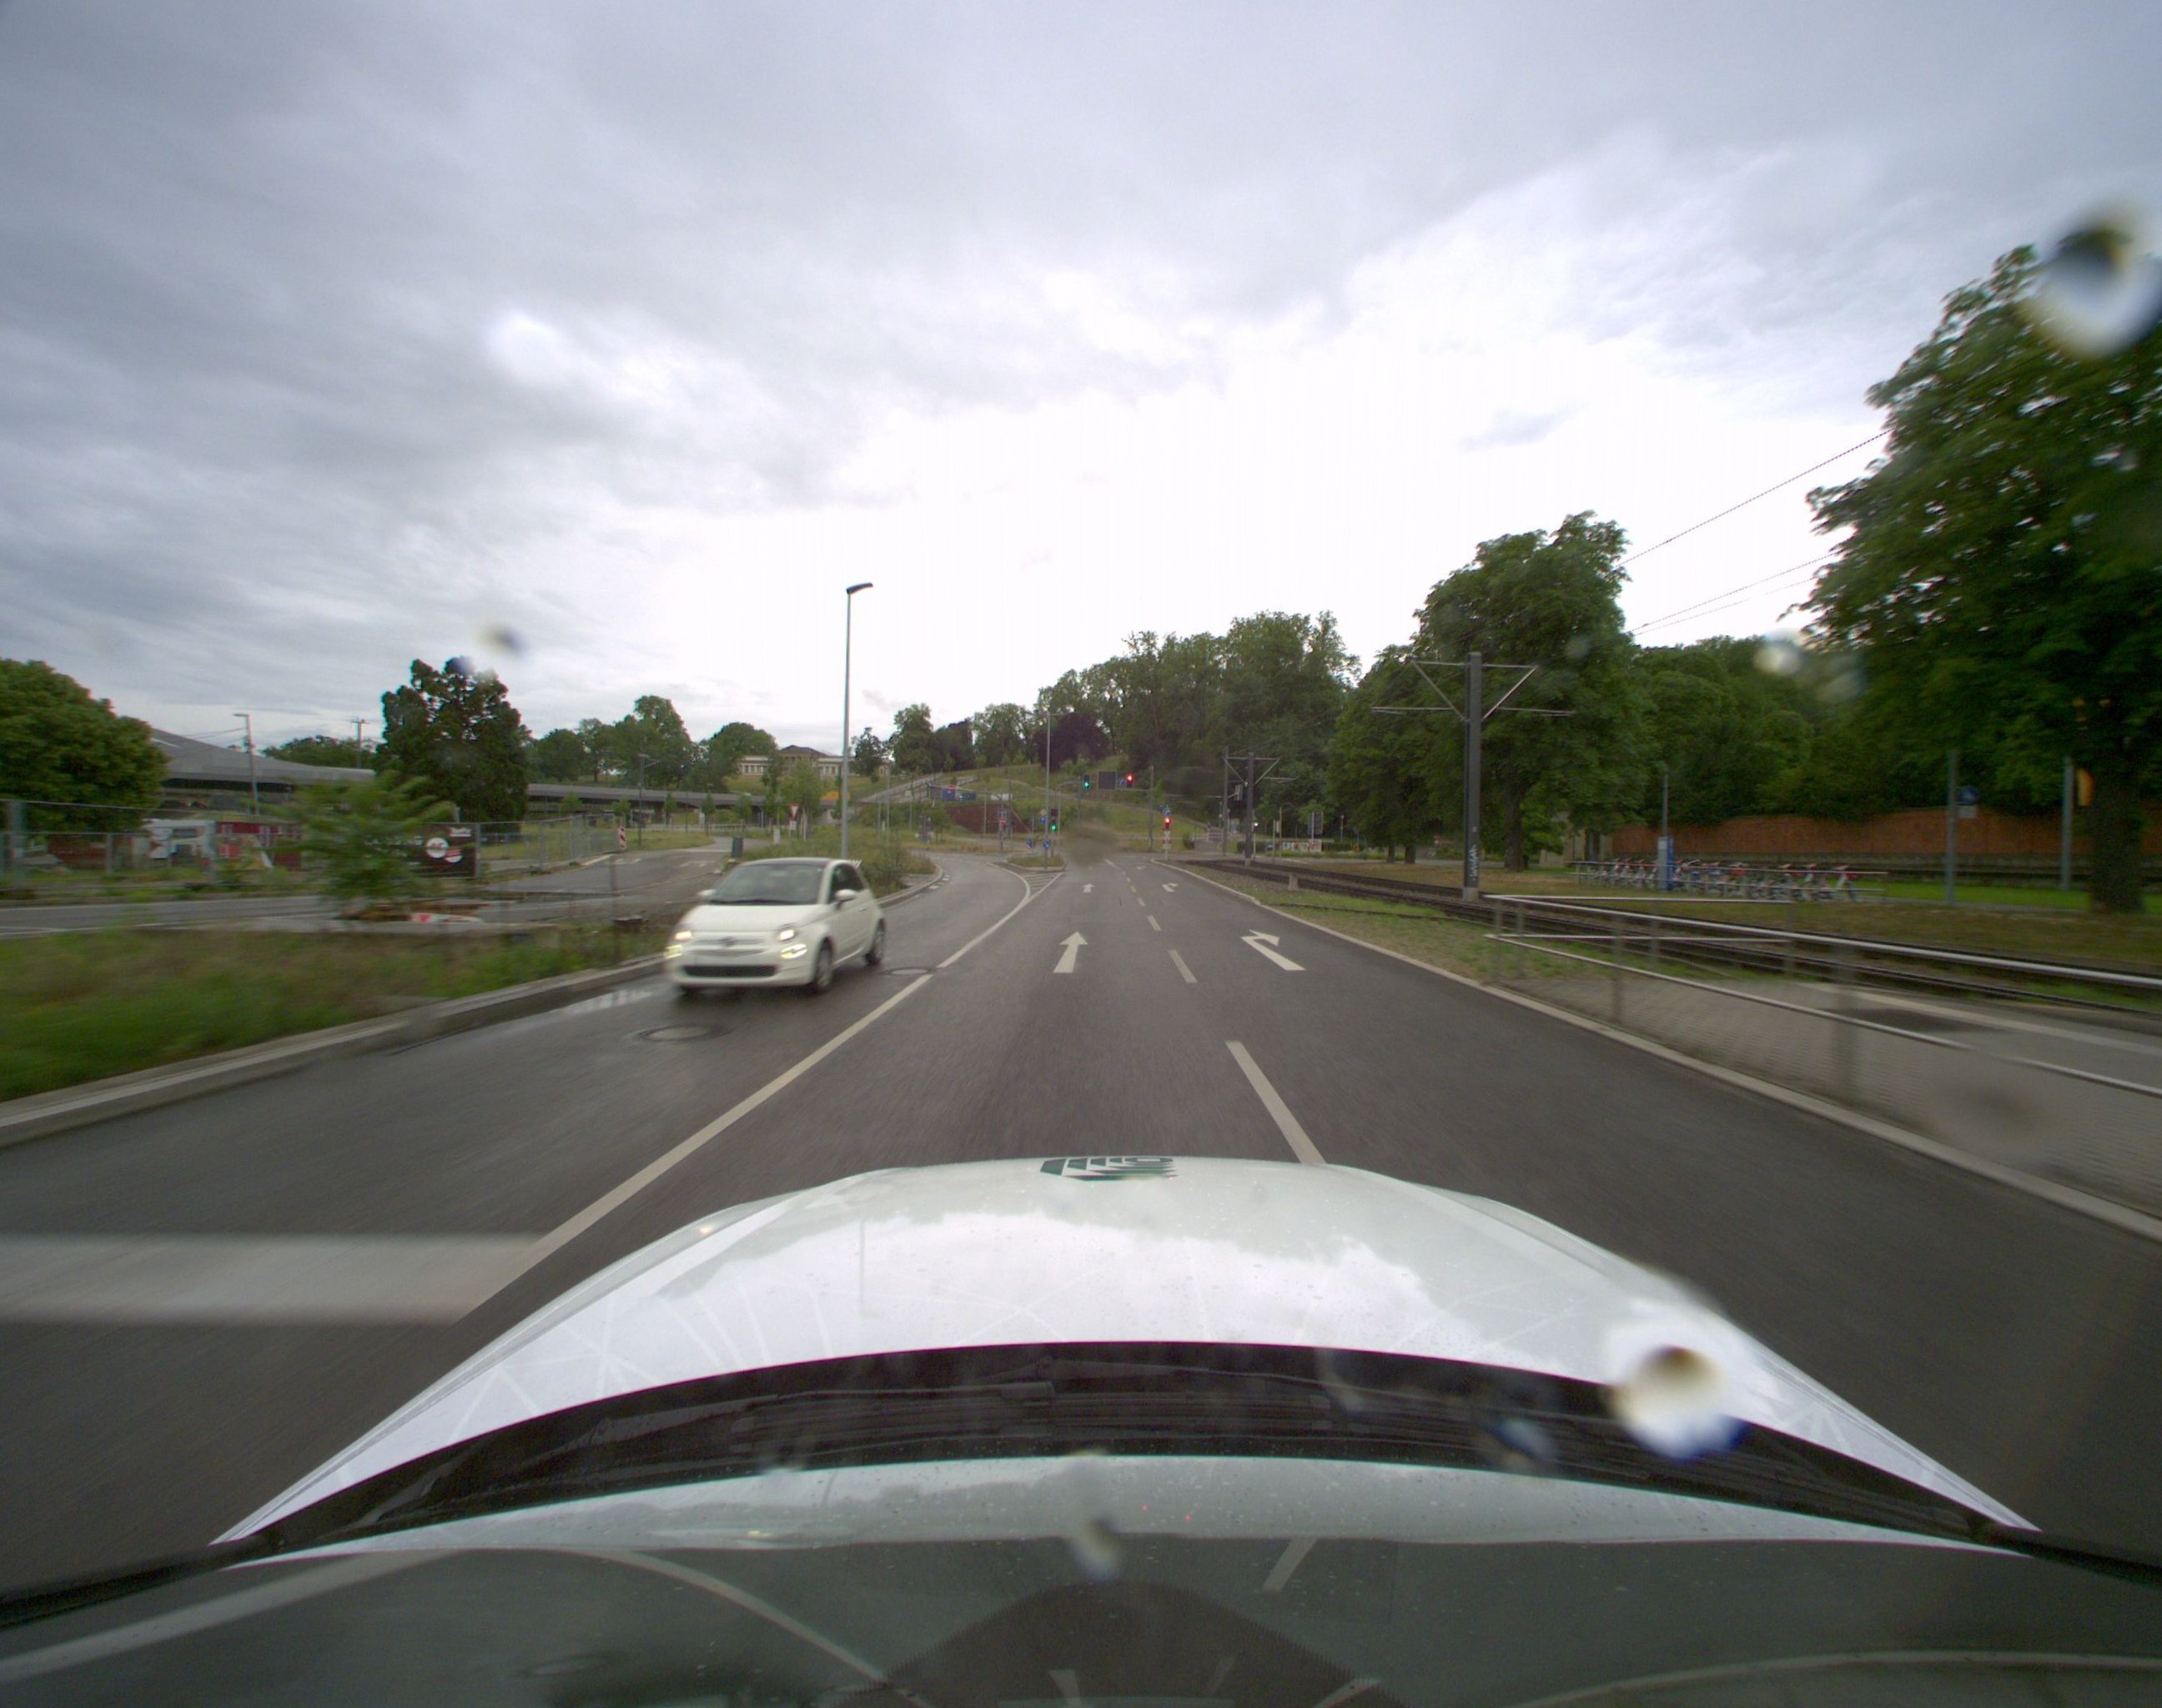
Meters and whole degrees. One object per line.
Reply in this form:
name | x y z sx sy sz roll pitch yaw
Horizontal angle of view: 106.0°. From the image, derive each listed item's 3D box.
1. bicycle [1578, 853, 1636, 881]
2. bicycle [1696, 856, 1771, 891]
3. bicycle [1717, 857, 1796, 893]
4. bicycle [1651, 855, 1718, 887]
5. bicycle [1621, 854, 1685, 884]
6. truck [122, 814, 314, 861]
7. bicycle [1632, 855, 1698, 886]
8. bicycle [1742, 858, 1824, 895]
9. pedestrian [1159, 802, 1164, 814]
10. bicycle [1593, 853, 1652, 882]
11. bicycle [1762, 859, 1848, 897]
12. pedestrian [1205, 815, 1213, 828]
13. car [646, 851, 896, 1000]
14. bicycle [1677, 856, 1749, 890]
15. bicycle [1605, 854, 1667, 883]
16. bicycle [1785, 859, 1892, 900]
bicycle | 20.293 0.488 31.444 1.805 1.032 0.653 0 1 -1
bicycle | 20.137 0.602 25.135 1.805 1.032 0.653 0 1 -1
bicycle | 20.171 0.614 24.350 1.841 1.032 0.653 0 1 -1
bicycle | 20.298 0.568 27.412 1.805 1.032 0.653 0 1 -1
bicycle | 20.224 0.538 28.800 1.805 1.032 0.653 0 1 -1
truck | -54.238 -0.997 51.545 7.997 2.802 2.397 0 1 -37
bicycle | 20.146 0.554 28.108 1.829 1.032 0.652 0 1 -1
bicycle | 20.244 0.632 23.502 1.805 1.032 0.653 0 1 -1
pedestrian | 13.602 -7.775 137.545 0.789 2.012 0.654 -3 7 -14
bicycle | 20.318 0.503 30.562 1.805 1.032 0.653 0 1 -1
bicycle | 20.089 0.654 22.612 1.805 1.032 0.653 0 1 -1
pedestrian | 17.412 -4.387 110.768 0.951 1.781 1.127 3 2 13
car | -3.539 0.713 10.047 1.581 1.491 3.715 0 0 1
bicycle | 20.094 0.590 25.898 1.805 1.034 0.652 0 1 -1
bicycle | 20.217 0.514 29.693 1.805 1.032 0.653 0 1 -1
bicycle | 20.194 0.671 21.730 2.216 1.032 0.689 0 1 -1
